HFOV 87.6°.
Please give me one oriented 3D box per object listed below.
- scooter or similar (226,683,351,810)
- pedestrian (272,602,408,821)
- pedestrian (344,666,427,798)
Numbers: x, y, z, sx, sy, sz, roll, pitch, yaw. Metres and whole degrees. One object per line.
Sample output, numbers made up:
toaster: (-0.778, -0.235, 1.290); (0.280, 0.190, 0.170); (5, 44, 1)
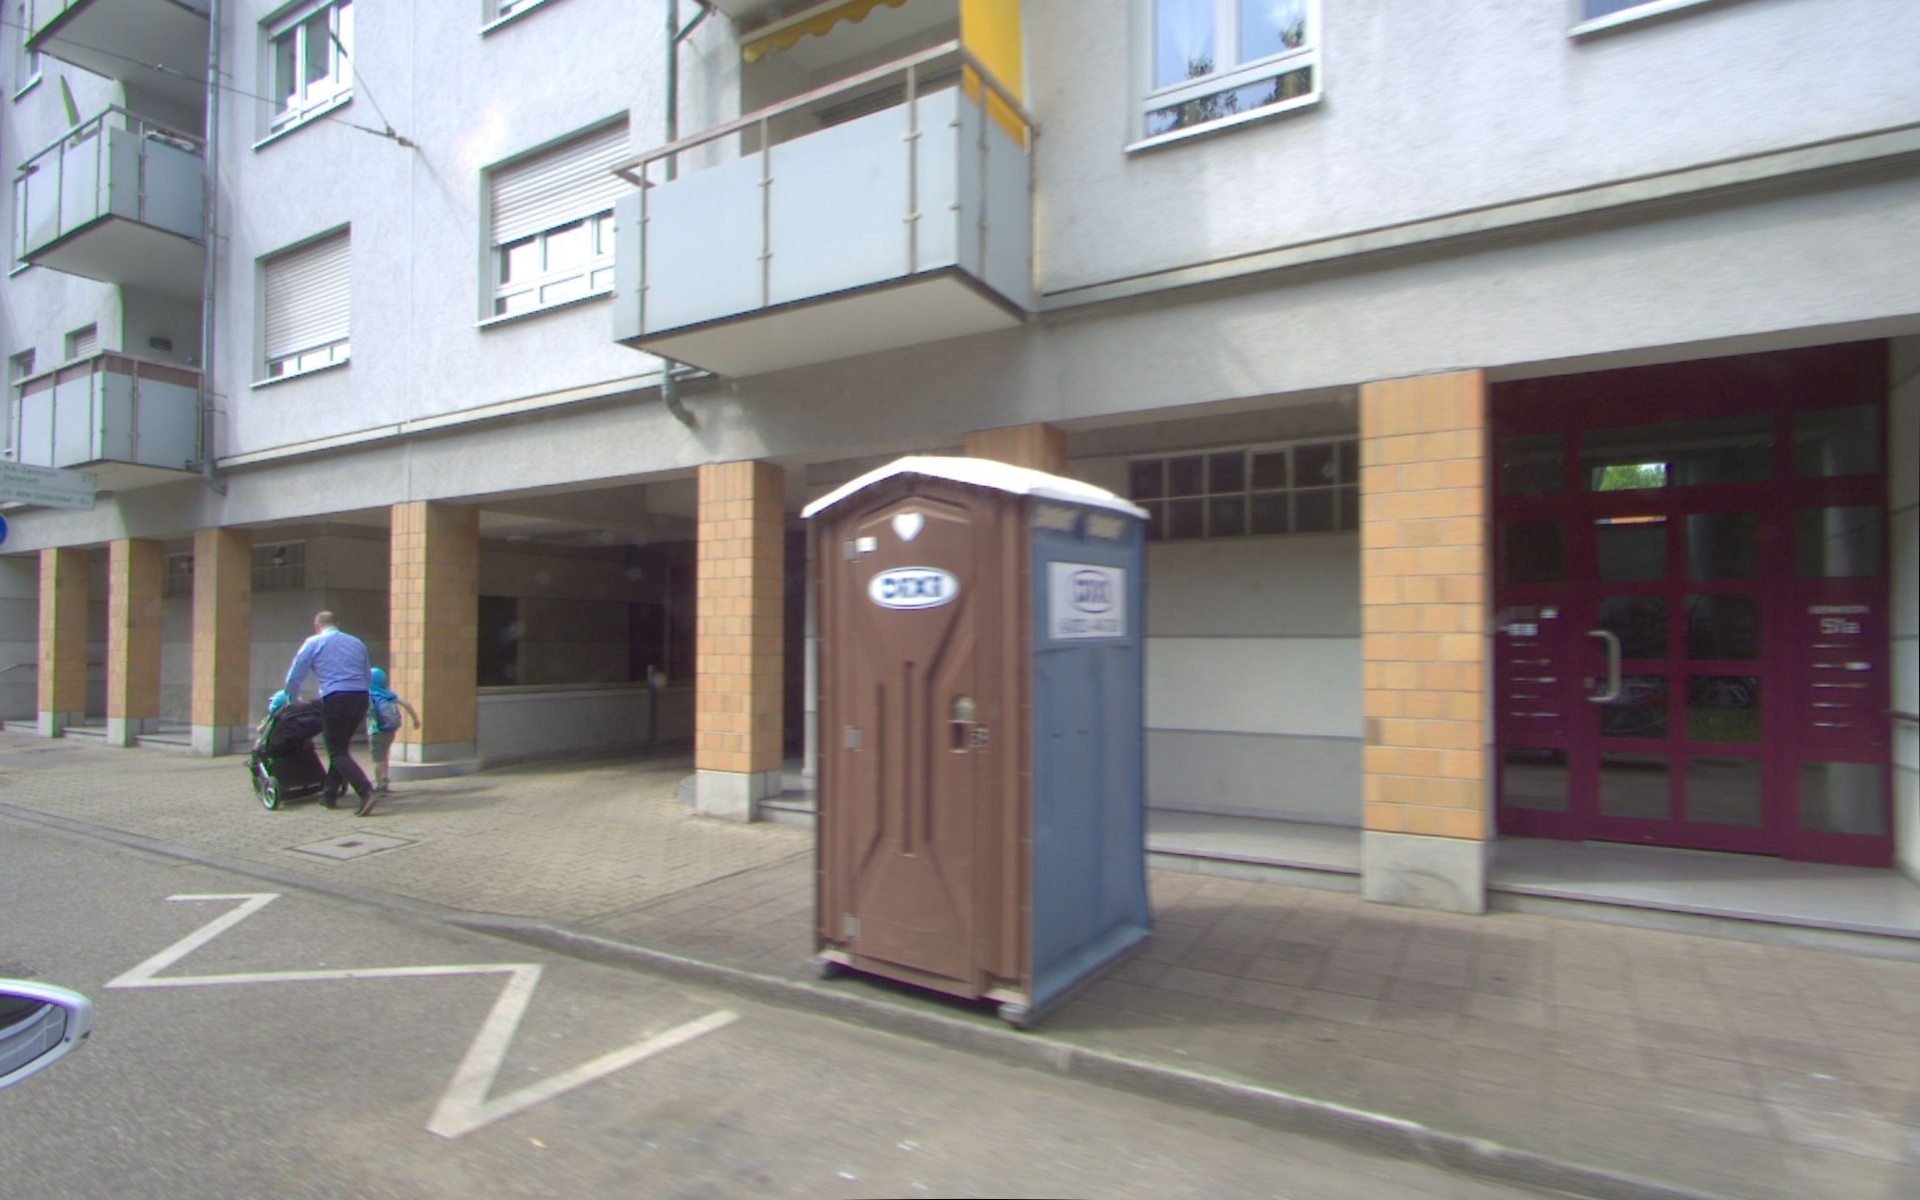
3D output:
scooter or similar: (-6.081, 1.297, 9.074); (0.893, 1.016, 0.591); (-1, 2, 32)
pedestrian: (-5.322, 0.912, 8.598); (0.865, 1.762, 0.619); (-1, 2, 32)
pedestrian: (-5.361, 1.213, 9.351); (0.487, 1.150, 0.455); (-1, 2, 32)
